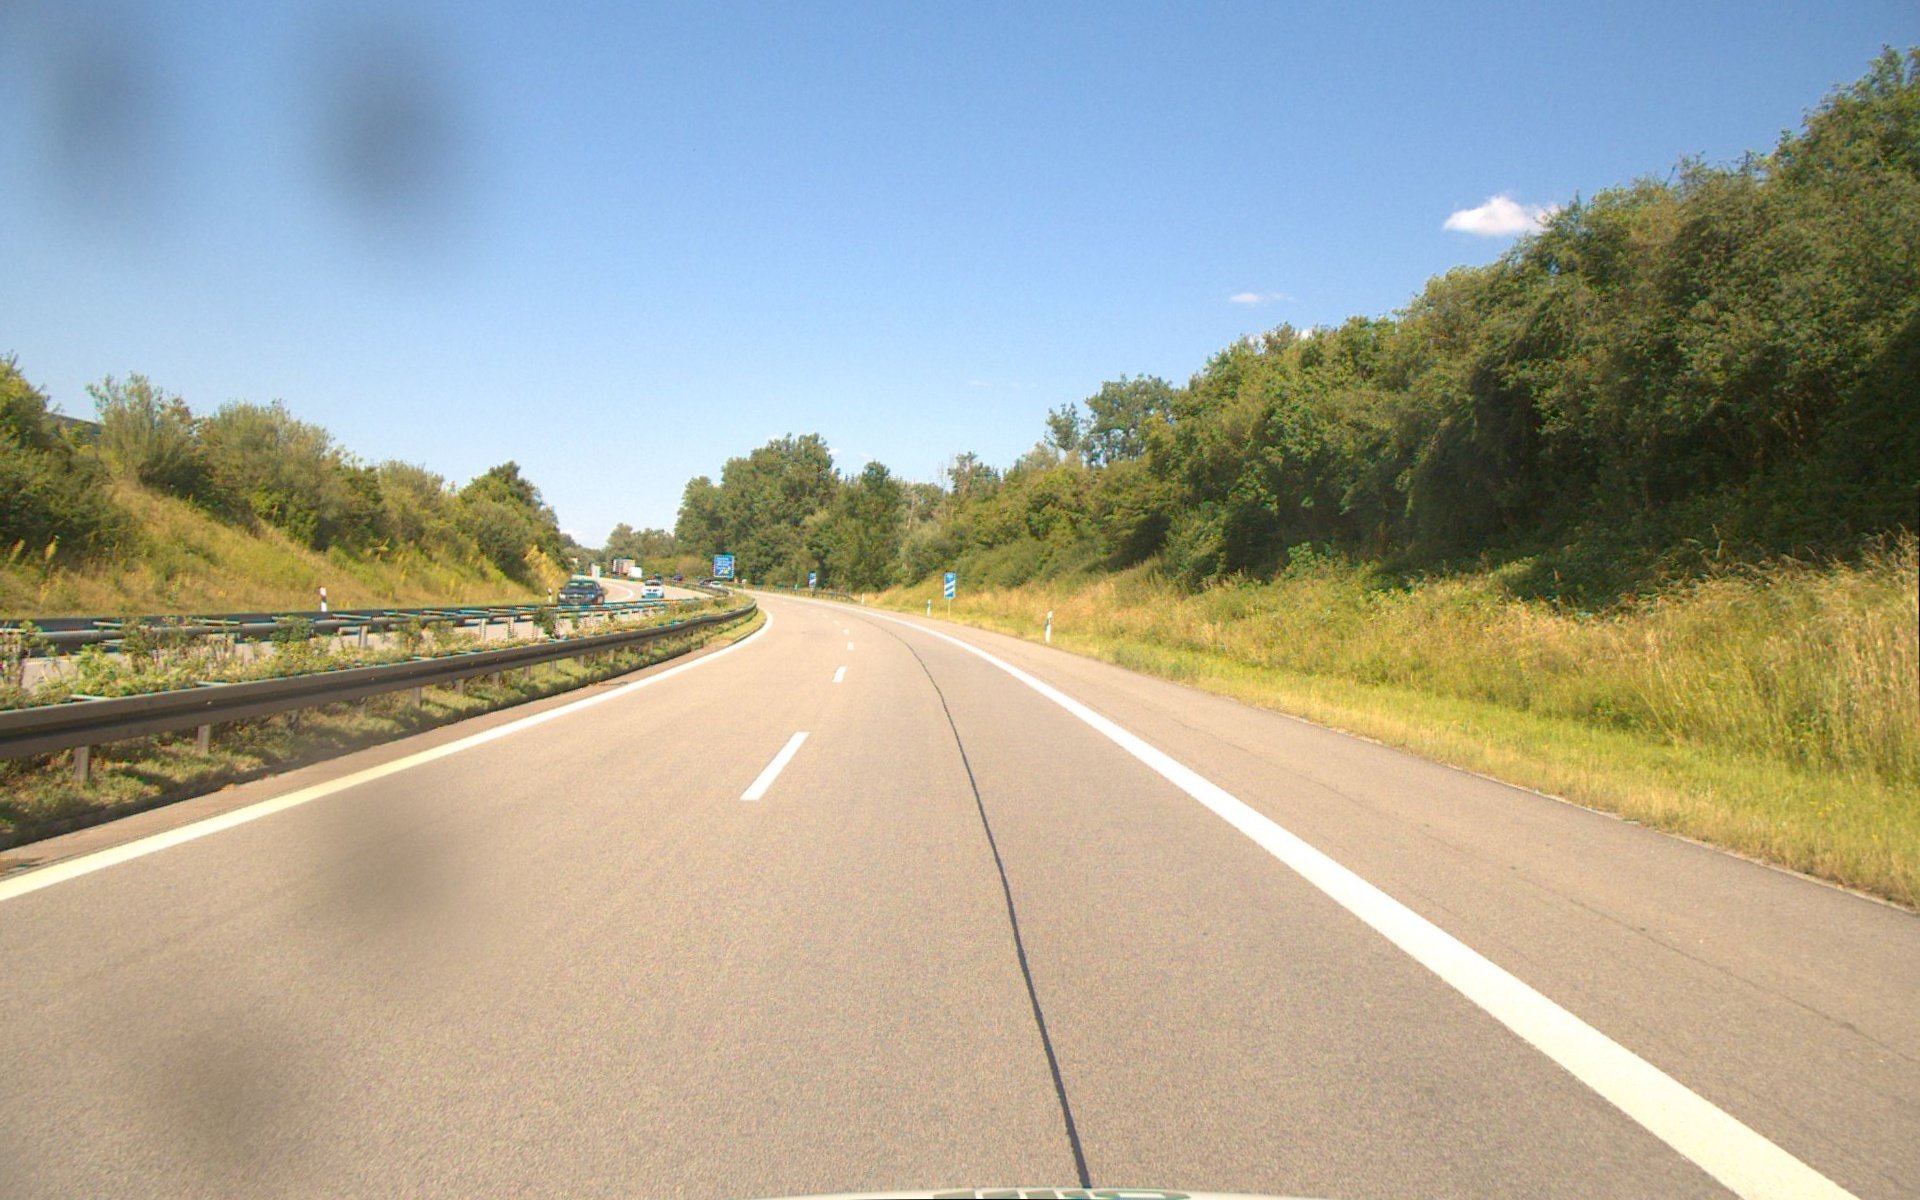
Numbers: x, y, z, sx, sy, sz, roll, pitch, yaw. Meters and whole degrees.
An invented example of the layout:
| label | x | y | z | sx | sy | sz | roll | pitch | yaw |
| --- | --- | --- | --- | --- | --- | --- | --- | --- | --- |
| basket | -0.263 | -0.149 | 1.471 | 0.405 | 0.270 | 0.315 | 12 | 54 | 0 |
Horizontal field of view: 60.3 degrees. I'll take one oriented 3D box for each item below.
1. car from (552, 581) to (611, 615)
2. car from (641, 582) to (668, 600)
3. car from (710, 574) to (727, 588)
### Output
| label | x | y | z | sx | sy | sz | roll | pitch | yaw |
| --- | --- | --- | --- | --- | --- | --- | --- | --- | --- |
| car | -18.323 | -0.079 | 80.316 | 1.928 | 1.591 | 5.170 | 0 | 0 | -3 |
| car | -25.631 | -0.733 | 138.950 | 1.863 | 1.447 | 4.393 | 0 | 1 | -5 |
| car | -31.917 | -2.438 | 218.149 | 2.025 | 1.653 | 3.989 | 2 | -2 | -11 |
